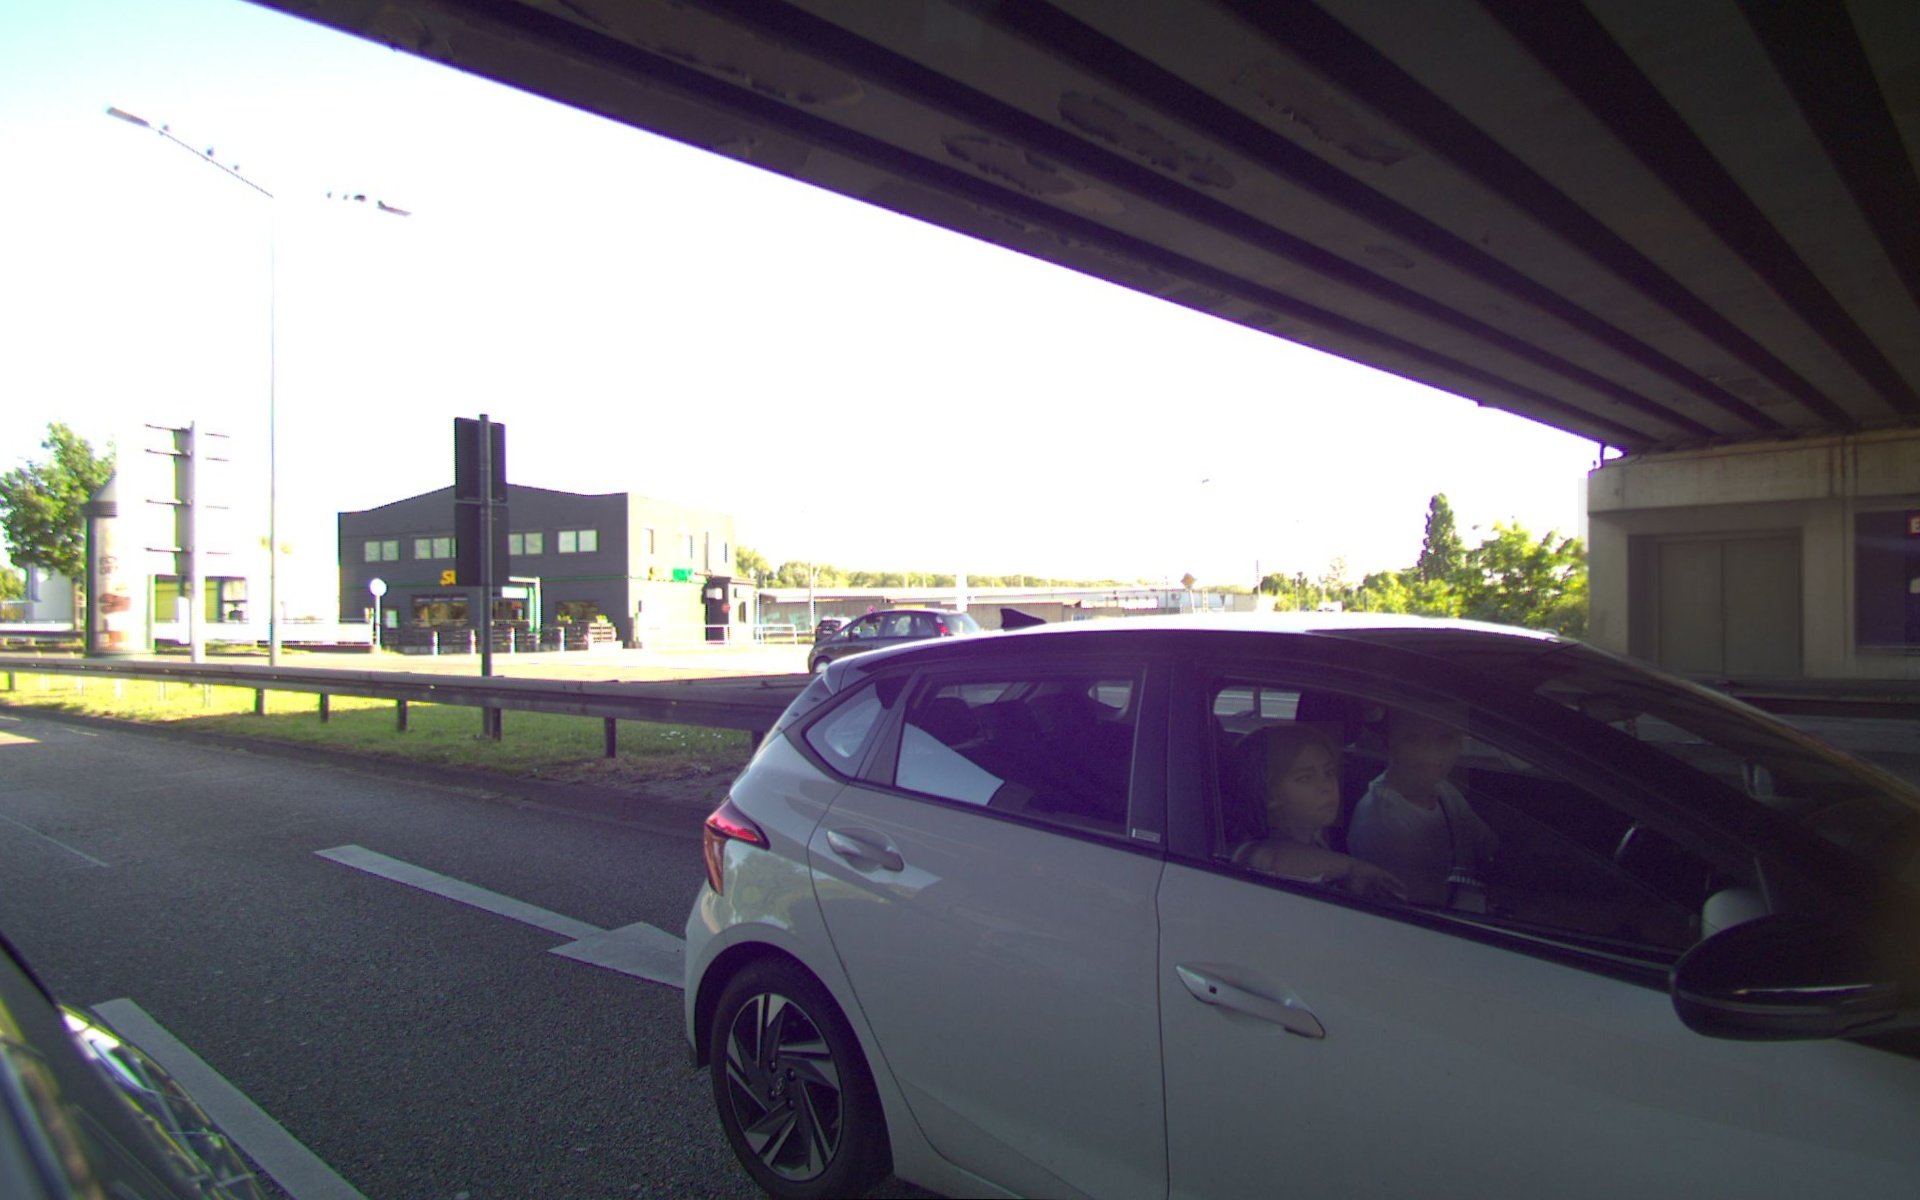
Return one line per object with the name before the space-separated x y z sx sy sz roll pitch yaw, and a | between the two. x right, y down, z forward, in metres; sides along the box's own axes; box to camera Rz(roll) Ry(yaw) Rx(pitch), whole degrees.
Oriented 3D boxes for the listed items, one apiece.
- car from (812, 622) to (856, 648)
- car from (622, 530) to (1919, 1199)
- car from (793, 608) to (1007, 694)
car | -6.794 1.917 55.036 1.806 1.291 4.180 1 -3 1
car | 1.143 0.688 2.180 3.987 1.491 1.716 -2 -2 40
car | -1.278 1.031 20.879 4.170 1.600 1.810 -2 -2 33
